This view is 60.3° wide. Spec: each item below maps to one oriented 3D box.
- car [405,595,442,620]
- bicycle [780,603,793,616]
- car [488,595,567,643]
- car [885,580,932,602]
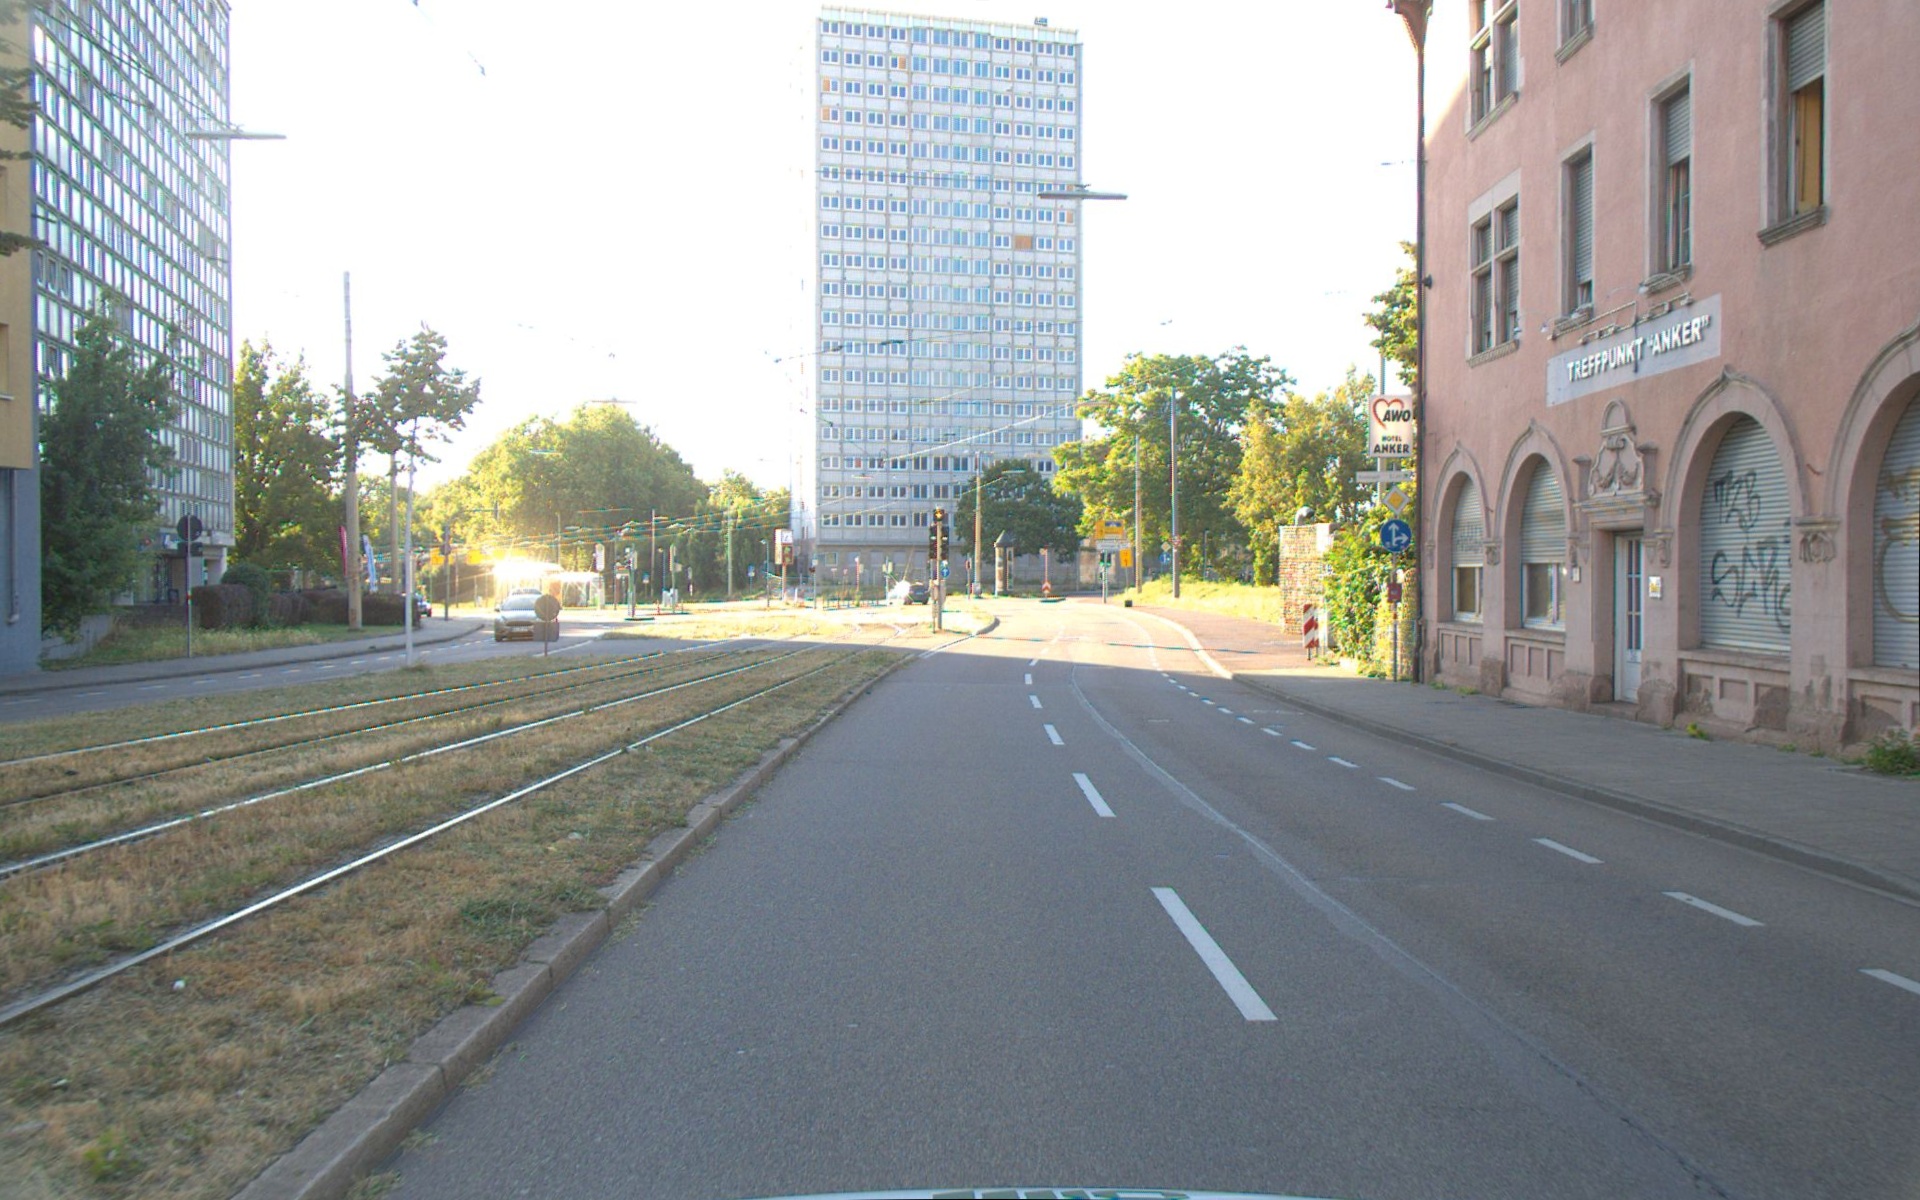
[{"bbox_3d":[-34.340,0.476,105.831,1.754,1.508,4.364,0,0,-25],"label":"car"},{"bbox_3d":[-12.552,0.683,119.446,0.541,0.933,1.744,-2,1,5],"label":"bicycle"},{"bbox_3d":[-14.426,0.616,55.329,1.664,1.485,4.313,-2,0,-3],"label":"car"},{"bbox_3d":[-3.549,-0.646,113.301,1.752,1.447,3.821,-1,1,-28],"label":"car"}]
